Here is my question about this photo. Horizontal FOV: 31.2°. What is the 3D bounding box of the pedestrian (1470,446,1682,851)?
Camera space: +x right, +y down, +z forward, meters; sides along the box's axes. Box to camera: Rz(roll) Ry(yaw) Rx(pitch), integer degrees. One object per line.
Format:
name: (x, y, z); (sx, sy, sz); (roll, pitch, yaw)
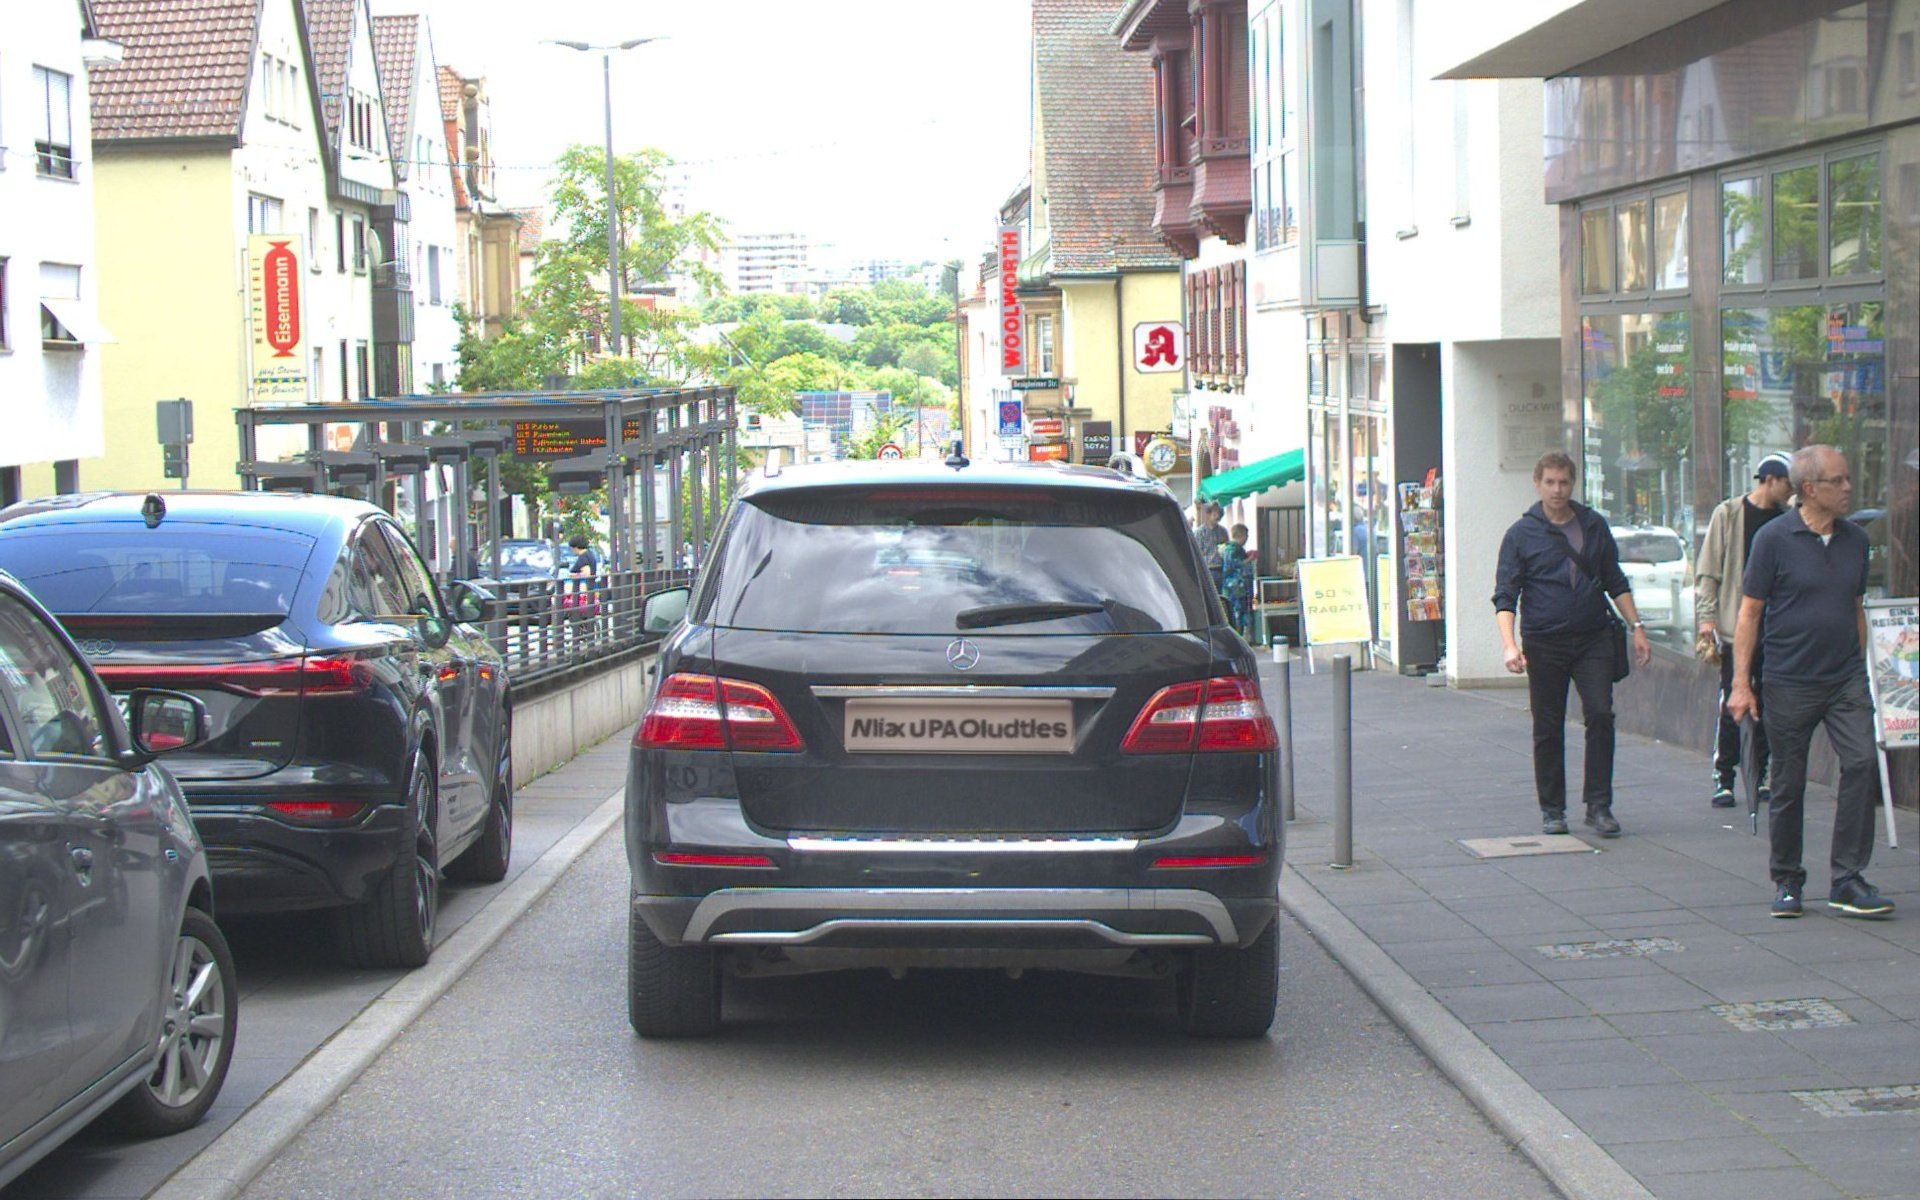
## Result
pedestrian: (2.773, 0.205, 15.547); (0.711, 1.747, 0.787); (-3, 1, -1)

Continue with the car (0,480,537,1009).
car: (-2.783, 0.399, 12.785); (1.956, 1.634, 4.315); (0, 1, -1)

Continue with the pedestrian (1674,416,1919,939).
pedestrian: (3.007, 0.255, 12.124); (0.711, 1.747, 0.785); (-3, 1, -1)

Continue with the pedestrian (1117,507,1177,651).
pedestrian: (2.211, -0.254, 40.750); (0.621, 1.683, 0.566); (0, 1, -7)

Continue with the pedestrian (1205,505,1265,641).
pedestrian: (3.485, -0.342, 43.547); (0.573, 1.683, 0.566); (-3, 1, -7)

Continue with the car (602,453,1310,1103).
car: (-0.096, 0.431, 11.225); (1.900, 1.741, 4.001); (0, 1, -3)

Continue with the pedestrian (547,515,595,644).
pedestrian: (-5.132, -0.273, 45.393); (0.625, 1.683, 0.679); (0, 1, -6)

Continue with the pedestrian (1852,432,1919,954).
pedestrian: (3.304, 0.271, 10.769); (0.711, 1.625, 0.835); (-3, 1, -1)

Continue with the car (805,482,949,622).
car: (-1.059, -0.634, 44.127); (1.770, 1.707, 4.000); (0, 1, -1)

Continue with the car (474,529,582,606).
car: (-8.613, -0.682, 68.833); (1.689, 1.484, 3.979); (0, 1, -1)

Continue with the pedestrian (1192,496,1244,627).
pedestrian: (3.333, -0.505, 44.464); (0.573, 1.683, 0.566); (0, 1, -7)

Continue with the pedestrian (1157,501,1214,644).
pedestrian: (2.765, -0.343, 42.135); (0.542, 1.720, 0.528); (-2, 1, -7)

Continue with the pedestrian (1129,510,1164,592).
pedestrian: (3.897, -1.021, 71.909); (0.606, 1.683, 0.724); (-2, 1, -1)

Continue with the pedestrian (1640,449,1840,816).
pedestrian: (3.738, 0.147, 16.509); (0.662, 1.683, 0.543); (-5, 2, -7)

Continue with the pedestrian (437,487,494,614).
pedestrian: (-6.554, -0.658, 45.612); (0.612, 1.683, 0.563); (0, 1, 8)

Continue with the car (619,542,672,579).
car: (-9.937, -1.263, 108.667); (1.388, 1.066, 3.113); (-2, 1, 0)

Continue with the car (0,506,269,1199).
car: (-2.586, 0.575, 7.122); (1.620, 1.527, 3.671); (0, 1, -1)
